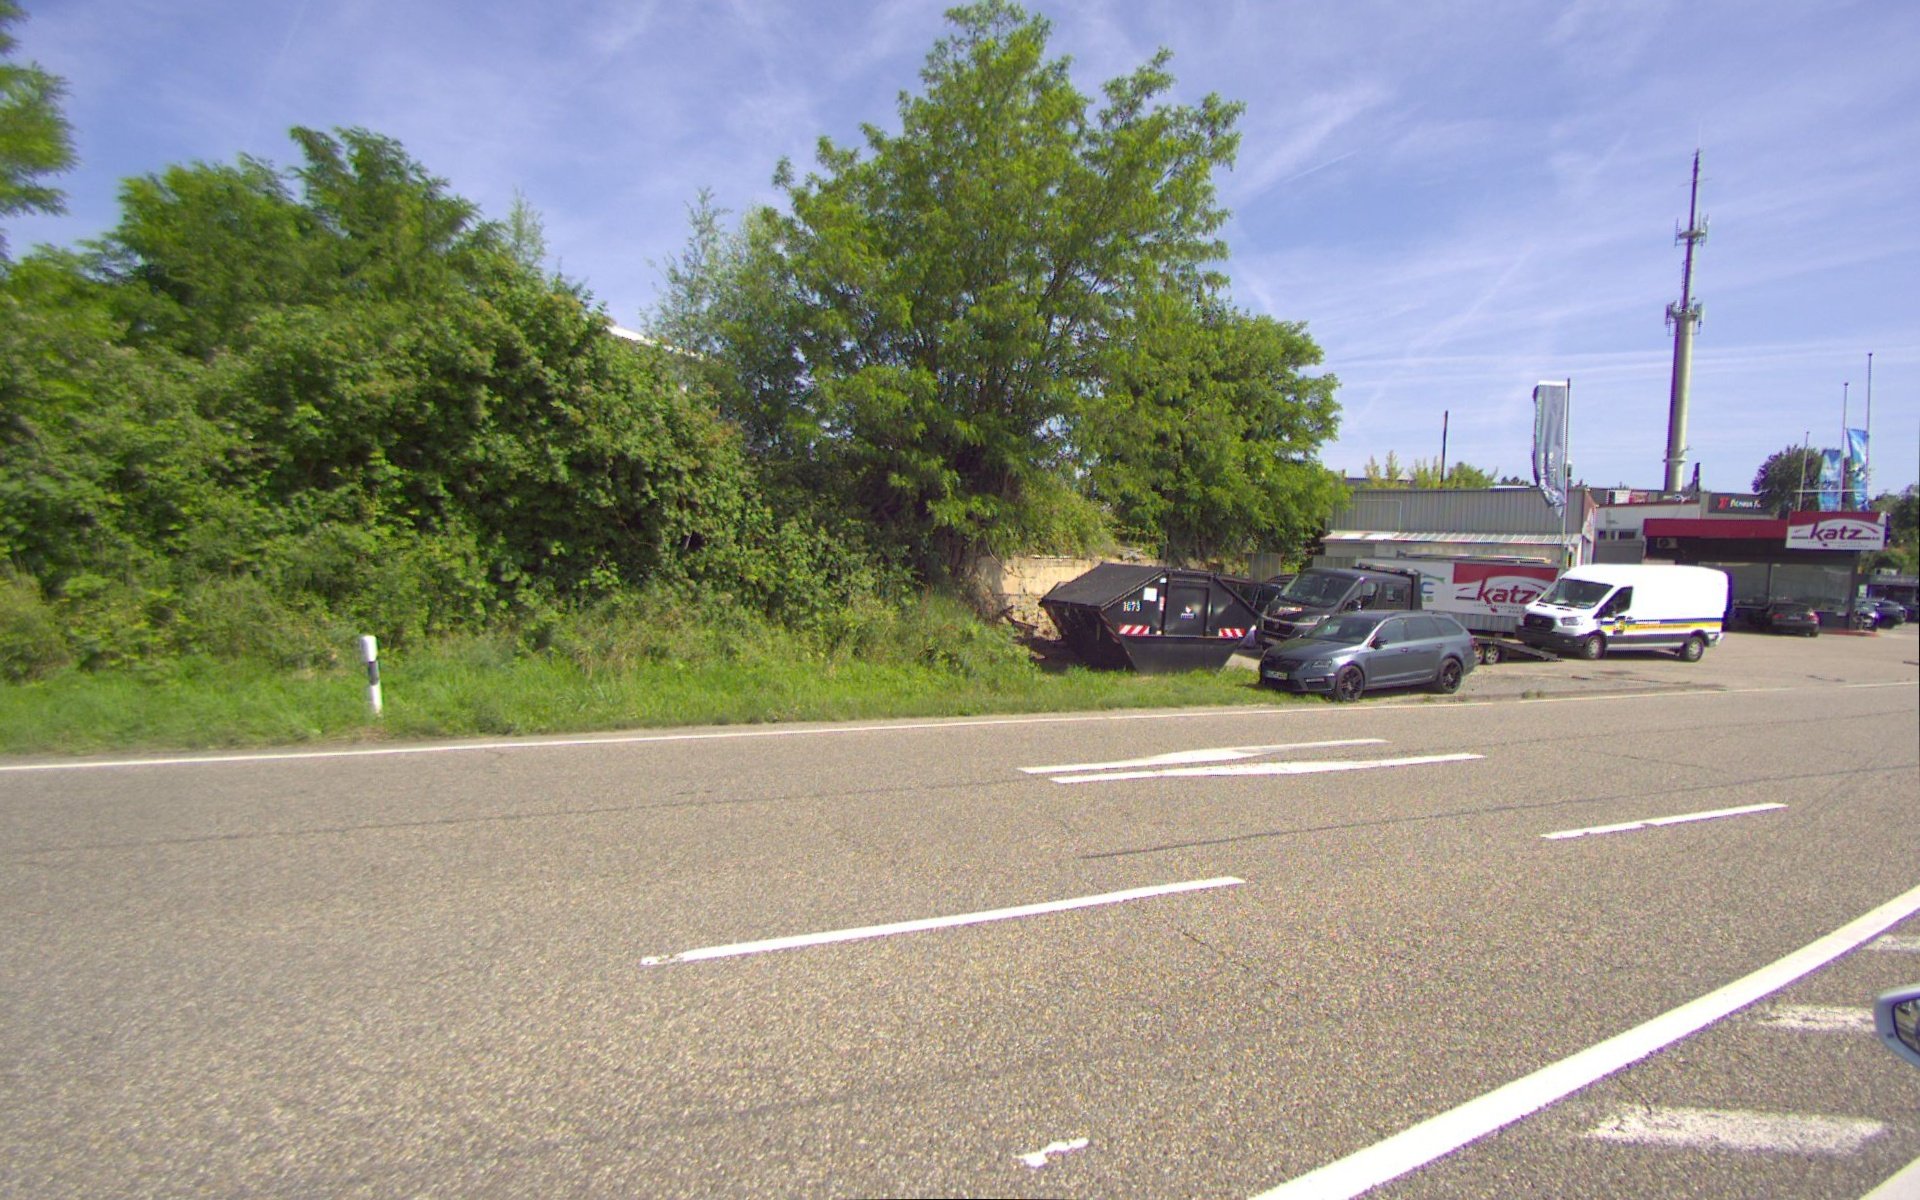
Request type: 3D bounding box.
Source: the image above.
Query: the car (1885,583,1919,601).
[{"bbox_3d":[78.639,-0.661,82.952,1.701,1.470,3.750,3,1,16],"label":"car"}]

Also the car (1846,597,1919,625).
[{"bbox_3d":[54.689,0.650,58.900,3.884,1.553,1.763,2,1,34],"label":"car"}]

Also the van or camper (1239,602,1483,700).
[{"bbox_3d":[7.368,0.890,18.386,4.411,1.545,1.633,1,2,-28],"label":"van or camper"}]

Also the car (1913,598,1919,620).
[{"bbox_3d":[72.339,0.699,74.112,1.735,1.609,3.826,2,1,24],"label":"car"}]

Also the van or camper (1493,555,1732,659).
[{"bbox_3d":[17.954,0.203,27.660,5.856,2.533,2.152,1,5,-18],"label":"van or camper"}]

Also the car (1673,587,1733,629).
[{"bbox_3d":[33.349,0.321,45.169,1.828,1.525,3.987,7,6,33],"label":"car"}]

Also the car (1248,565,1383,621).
[{"bbox_3d":[11.048,-0.247,31.303,3.611,1.550,1.733,3,2,36],"label":"car"}]

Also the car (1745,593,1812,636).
[{"bbox_3d":[35.720,0.587,43.932,1.828,1.525,4.381,5,5,35],"label":"car"}]

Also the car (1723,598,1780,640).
[{"bbox_3d":[38.805,0.901,49.321,1.675,1.783,3.751,6,4,32],"label":"car"}]

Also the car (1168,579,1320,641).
[{"bbox_3d":[7.760,0.234,27.588,3.617,1.489,1.731,3,2,41],"label":"car"}]

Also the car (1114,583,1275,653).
[{"bbox_3d":[5.840,0.404,25.337,1.703,1.531,3.628,0,2,-40],"label":"car"}]

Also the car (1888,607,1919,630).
[{"bbox_3d":[70.001,1.370,73.578,1.735,1.609,3.826,2,1,24],"label":"car"}]

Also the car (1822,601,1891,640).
[{"bbox_3d":[46.313,1.029,51.980,1.796,1.696,4.117,9,4,32],"label":"car"}]

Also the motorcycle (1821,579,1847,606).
[{"bbox_3d":[42.723,-0.378,49.108,0.760,1.278,2.047,2,1,36],"label":"motorcycle"}]

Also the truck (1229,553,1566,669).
[{"bbox_3d":[10.754,0.273,24.367,8.688,2.328,2.322,1,6,-27],"label":"truck"}]
